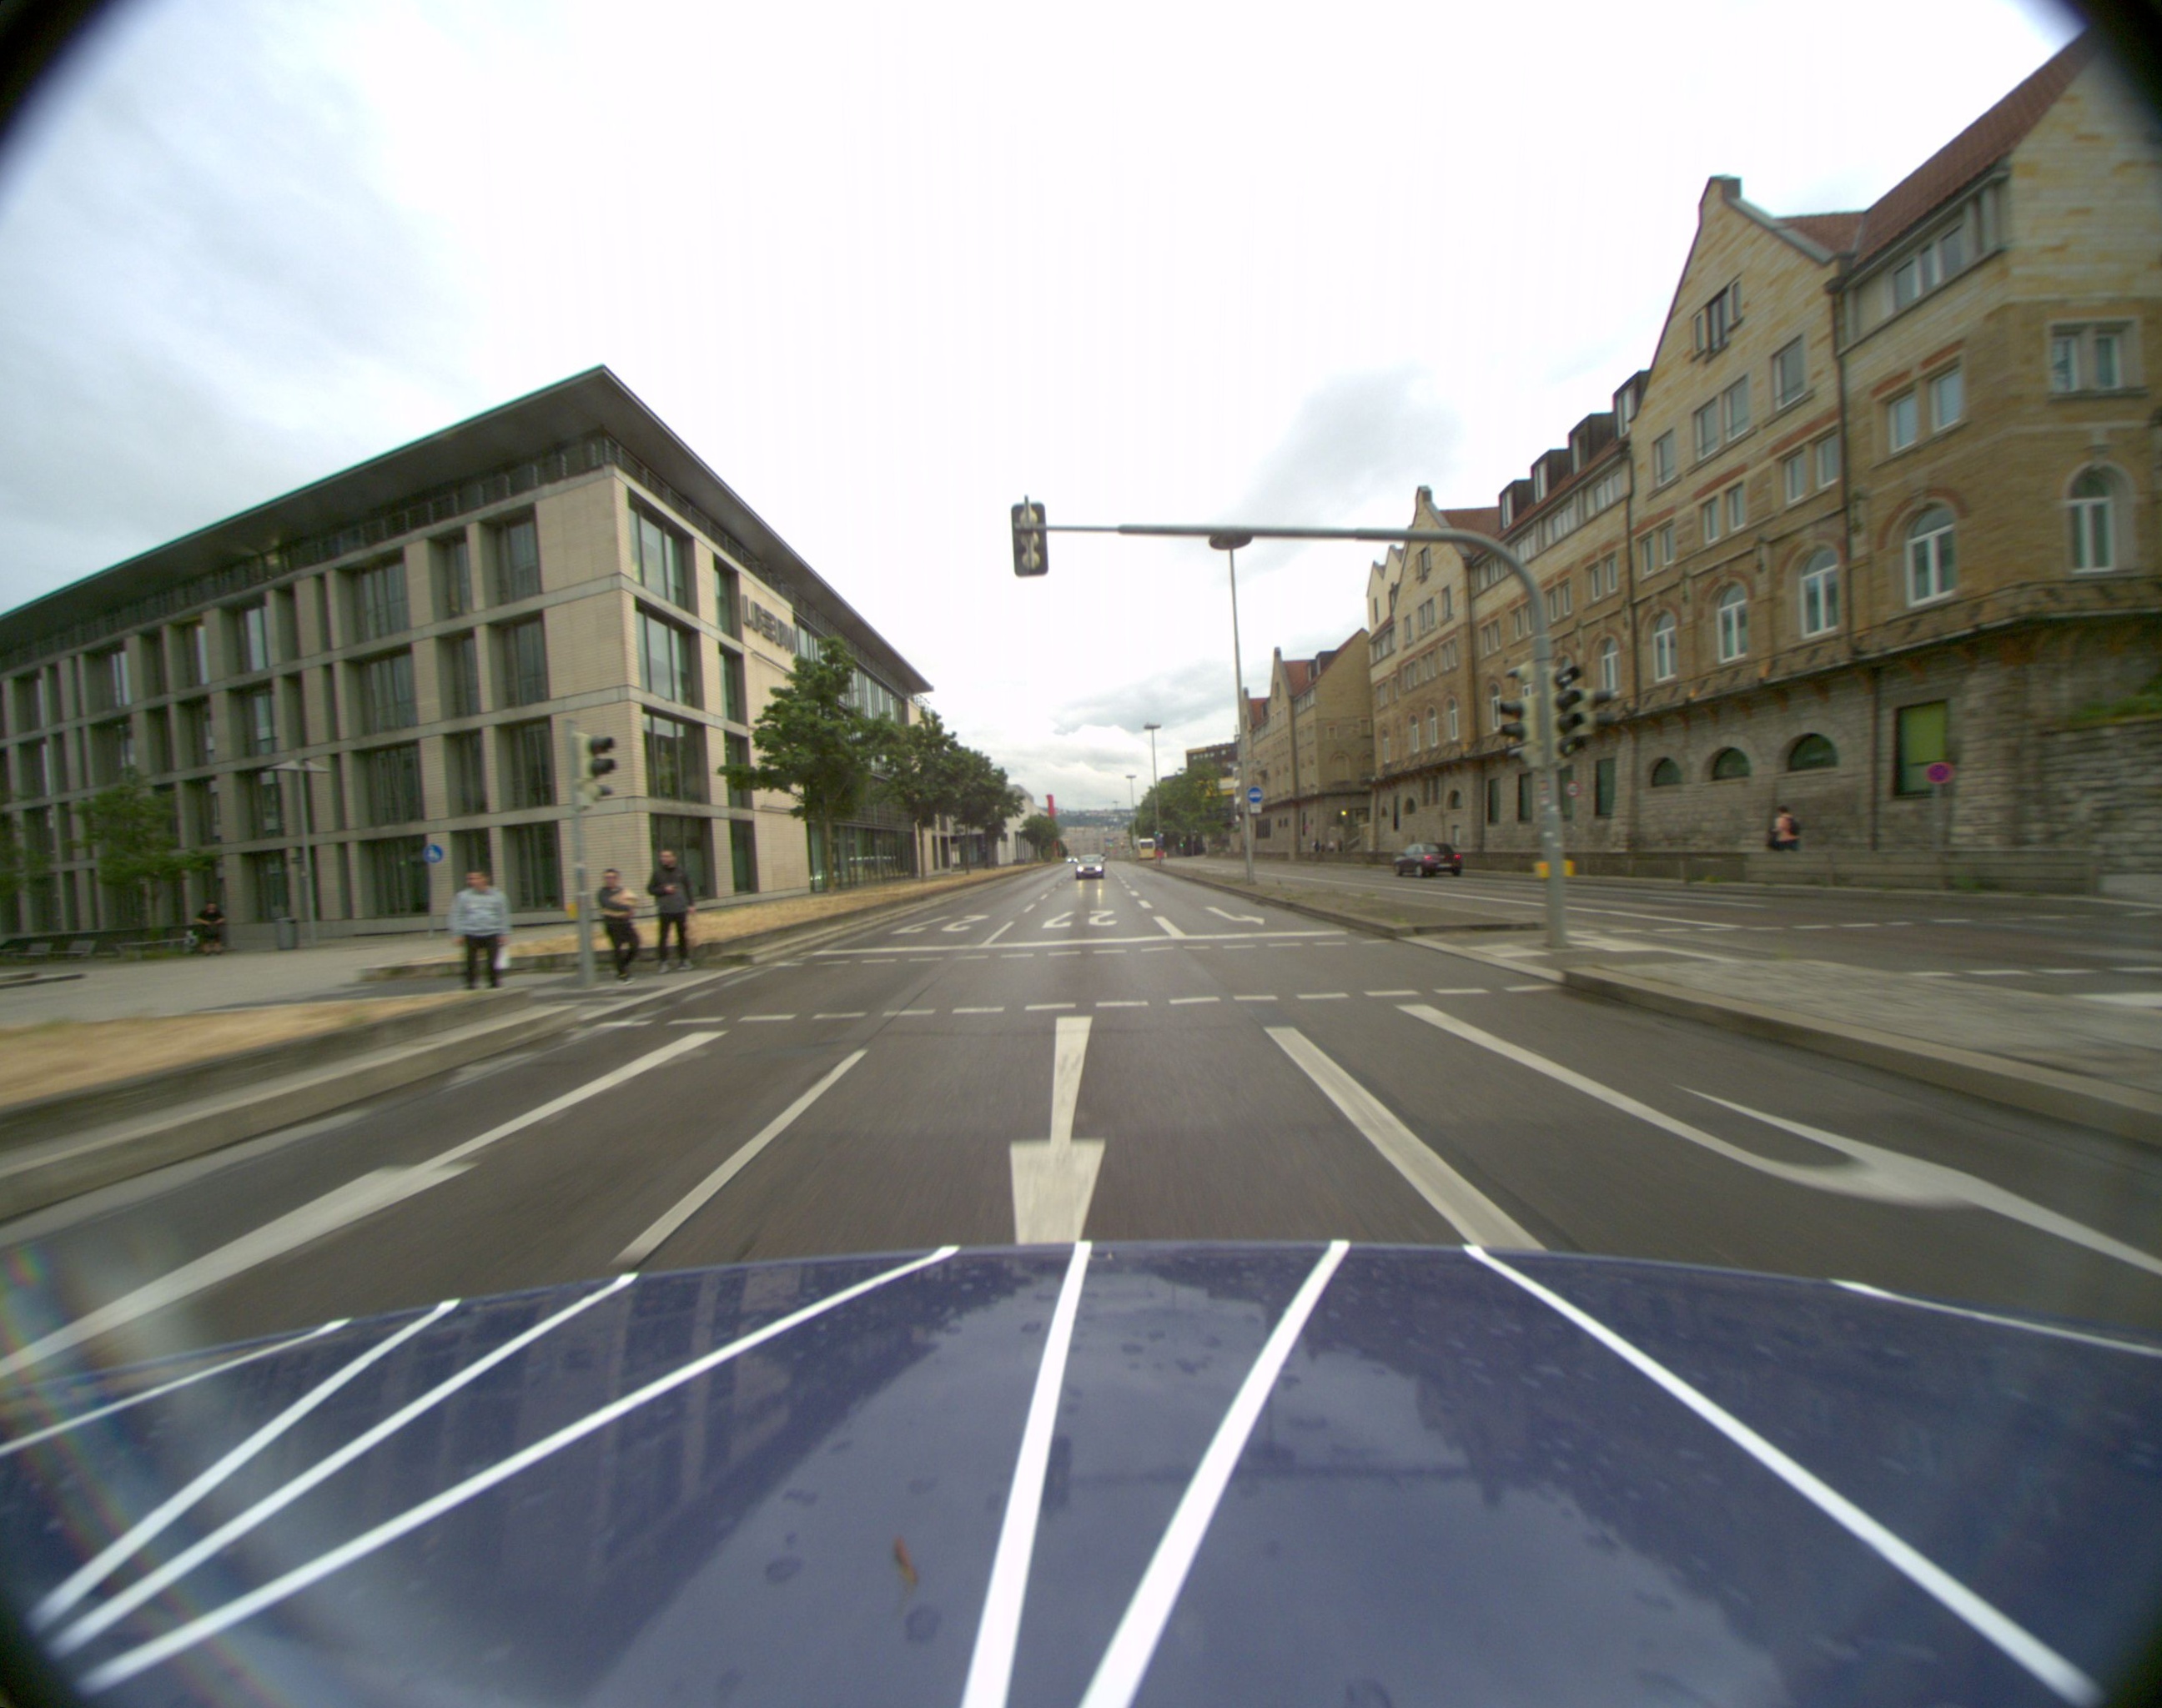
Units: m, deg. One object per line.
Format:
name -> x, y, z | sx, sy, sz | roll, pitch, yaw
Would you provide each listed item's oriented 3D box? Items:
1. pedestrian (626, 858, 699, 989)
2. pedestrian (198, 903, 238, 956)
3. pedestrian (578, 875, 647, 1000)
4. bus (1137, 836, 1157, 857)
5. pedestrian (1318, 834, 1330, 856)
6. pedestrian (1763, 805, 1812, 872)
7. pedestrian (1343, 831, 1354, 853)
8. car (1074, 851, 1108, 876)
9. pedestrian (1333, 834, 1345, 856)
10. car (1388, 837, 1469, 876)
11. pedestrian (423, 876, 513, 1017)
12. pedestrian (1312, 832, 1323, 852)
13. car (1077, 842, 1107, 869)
pedestrian -> -5.995, 0.958, 10.922 | 0.784, 1.761, 0.727 | -4, 2, -26
pedestrian -> -29.711, 2.592, 26.157 | 0.635, 1.735, 0.635 | -2, 2, 21
pedestrian -> -6.058, 1.050, 9.821 | 0.601, 1.519, 0.541 | -4, 3, -39
bus -> 10.873, -1.224, 125.416 | 2.500, 3.320, 8.445 | -3, 0, 1
pedestrian -> 19.542, -0.716, 61.185 | 0.677, 1.769, 0.683 | -3, 2, 1
pedestrian -> 19.245, -0.432, 20.713 | 0.677, 1.769, 0.683 | -3, 2, 1
pedestrian -> 21.964, -0.973, 62.413 | 0.677, 1.769, 0.683 | -3, 2, 1
car -> 0.609, 0.564, 47.840 | 1.685, 1.379, 3.473 | -3, 2, -5
pedestrian -> 21.237, -0.728, 62.489 | 0.677, 1.769, 0.683 | -3, 2, 1
car -> 15.056, 0.086, 33.182 | 1.715, 1.455, 4.000 | -4, 1, 1
pedestrian -> -7.406, 1.083, 9.192 | 0.460, 1.590, 0.657 | -1, 3, 37
pedestrian -> 20.872, -1.086, 67.078 | 0.677, 1.769, 0.683 | -3, 2, 1
car -> 0.872, 0.113, 62.808 | 1.999, 2.002, 3.996 | -3, 2, -6
